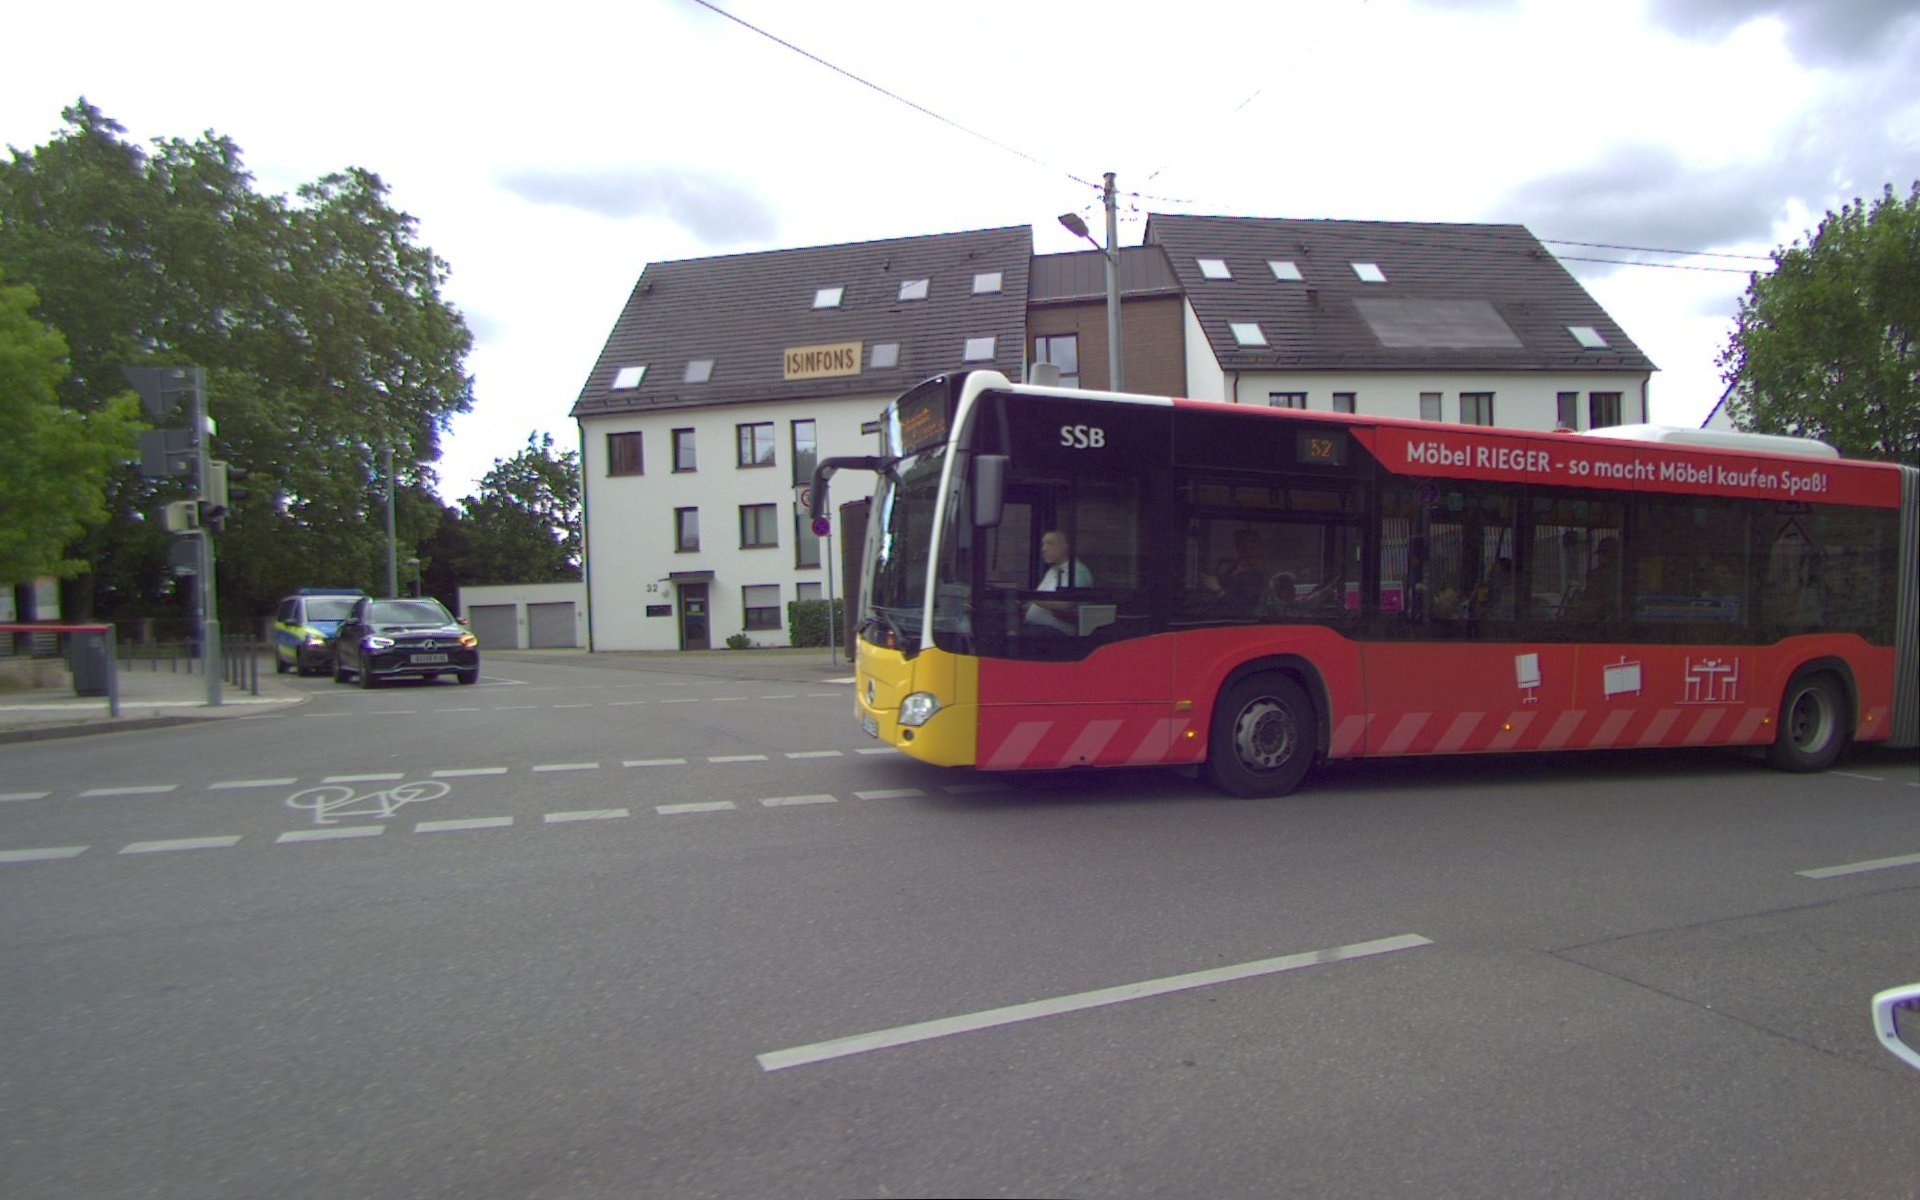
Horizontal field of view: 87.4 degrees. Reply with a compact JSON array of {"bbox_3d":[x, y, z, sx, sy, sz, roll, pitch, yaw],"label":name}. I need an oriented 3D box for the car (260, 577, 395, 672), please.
[{"bbox_3d":[-15.265,0.598,24.115,1.984,2.040,5.031,2,-2,-41],"label":"car"}]

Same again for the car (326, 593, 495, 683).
[{"bbox_3d":[-10.599,0.713,19.235,1.984,1.533,4.223,2,-2,-41],"label":"car"}]

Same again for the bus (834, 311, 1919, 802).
[{"bbox_3d":[3.978,-0.190,9.234,9.858,3.163,2.656,1,1,-18],"label":"bus"}]

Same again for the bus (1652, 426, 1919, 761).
[{"bbox_3d":[12.620,0.002,11.918,8.157,3.164,2.657,1,1,-16],"label":"bus"}]
